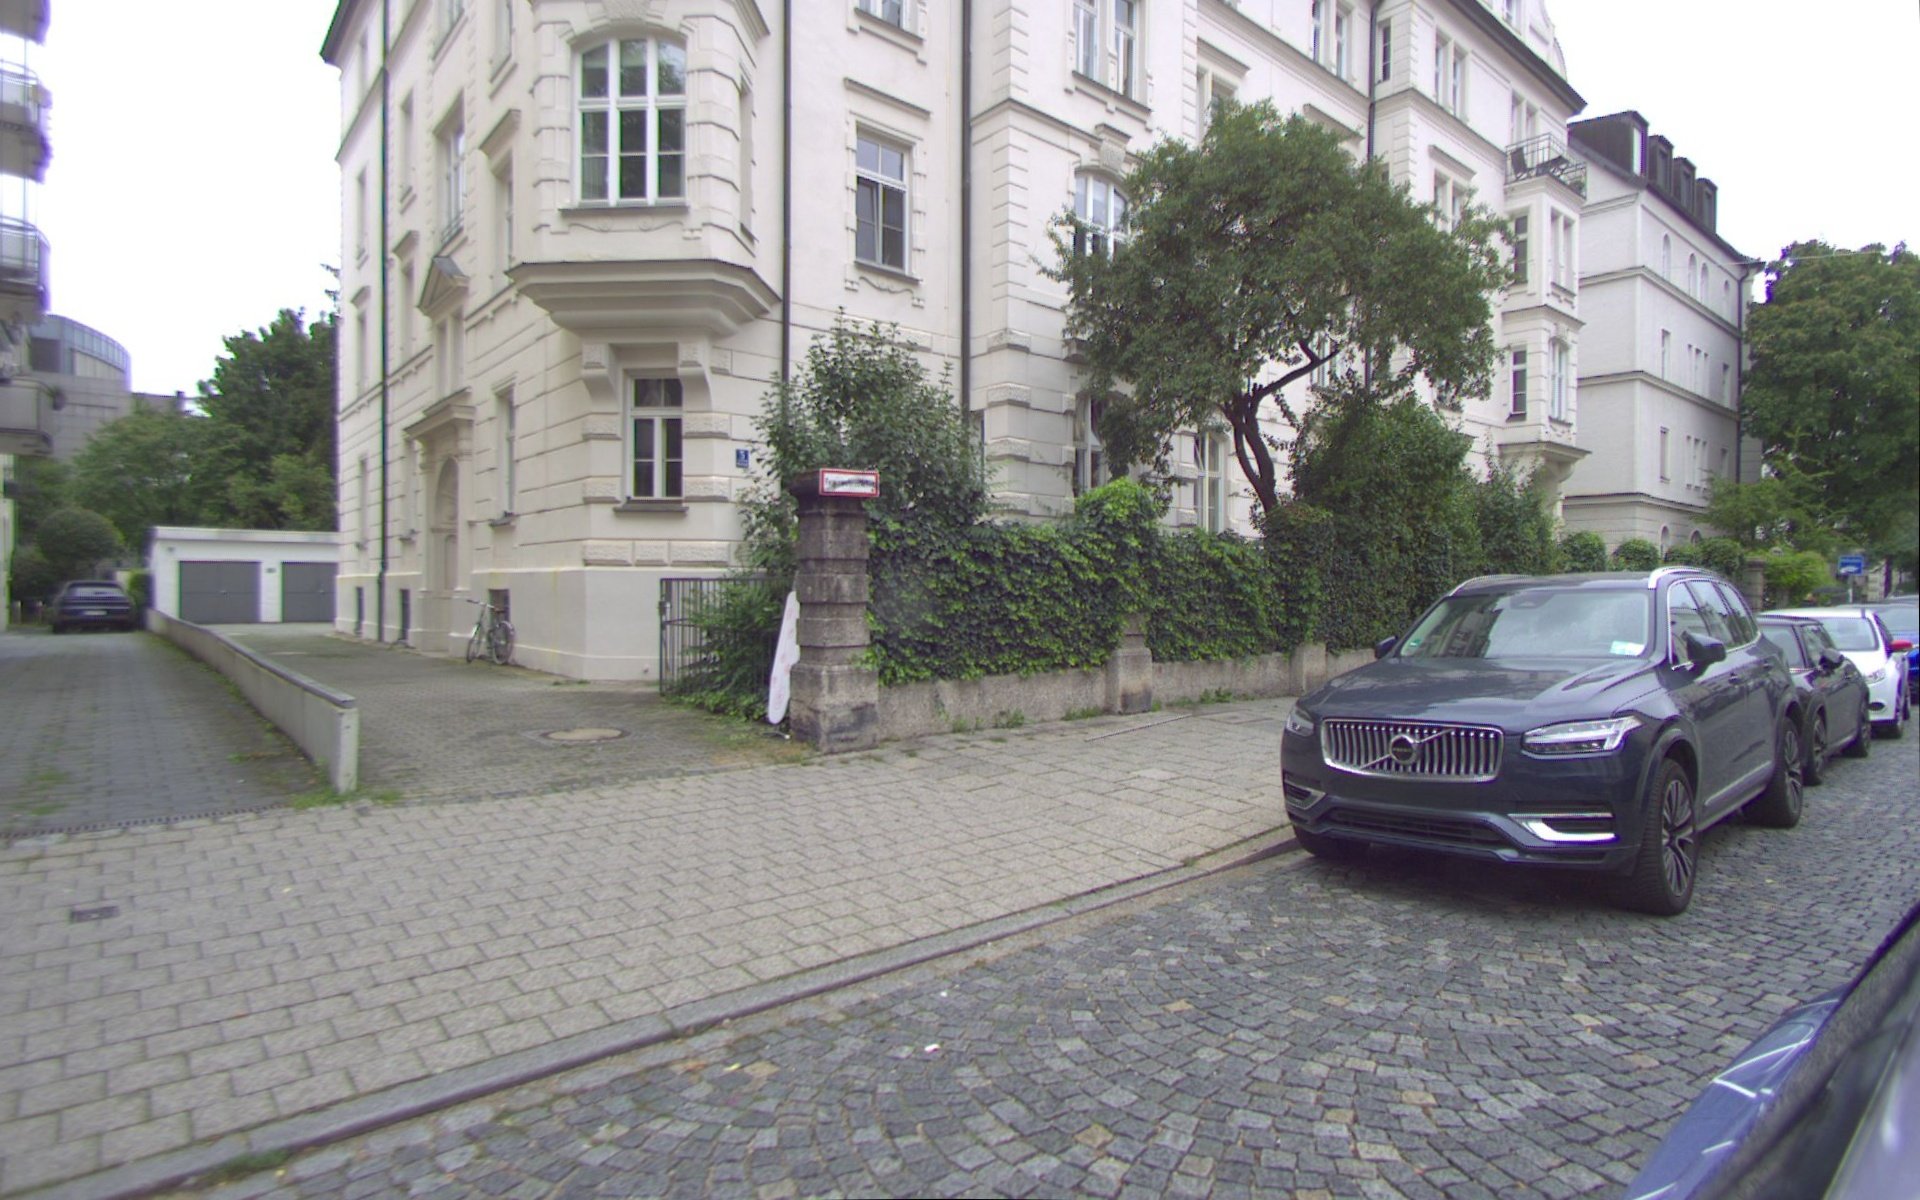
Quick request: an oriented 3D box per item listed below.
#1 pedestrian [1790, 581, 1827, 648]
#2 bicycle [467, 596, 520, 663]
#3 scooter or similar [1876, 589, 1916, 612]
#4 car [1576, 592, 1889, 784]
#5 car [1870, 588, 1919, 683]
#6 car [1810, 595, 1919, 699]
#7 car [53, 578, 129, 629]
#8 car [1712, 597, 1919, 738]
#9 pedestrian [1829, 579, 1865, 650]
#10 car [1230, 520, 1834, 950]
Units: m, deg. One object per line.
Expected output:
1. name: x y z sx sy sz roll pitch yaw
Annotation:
1. pedestrian: 23.392 0.384 27.904 0.624 1.831 0.654 0 0 26
2. bicycle: -7.412 0.451 16.043 0.408 0.998 1.482 0 1 -39
3. scooter or similar: 51.943 0.010 56.180 0.396 1.187 1.612 0 2 -17
4. car: 7.598 0.687 9.819 3.898 1.471 1.685 -1 -1 -42
5. car: 19.461 0.628 19.816 5.396 1.694 1.878 -1 1 -42
6. car: 15.307 0.688 16.511 4.179 1.501 1.710 -1 -1 -43
7. car: -27.385 0.080 31.860 1.728 1.517 3.469 -1 1 -42
8. car: 11.094 0.708 12.917 4.319 1.447 1.775 -1 1 -45
9. pedestrian: 23.997 0.381 27.387 0.668 1.873 0.578 0 0 -33
10. car: 3.970 0.523 6.560 4.869 1.781 1.966 -1 1 -42
